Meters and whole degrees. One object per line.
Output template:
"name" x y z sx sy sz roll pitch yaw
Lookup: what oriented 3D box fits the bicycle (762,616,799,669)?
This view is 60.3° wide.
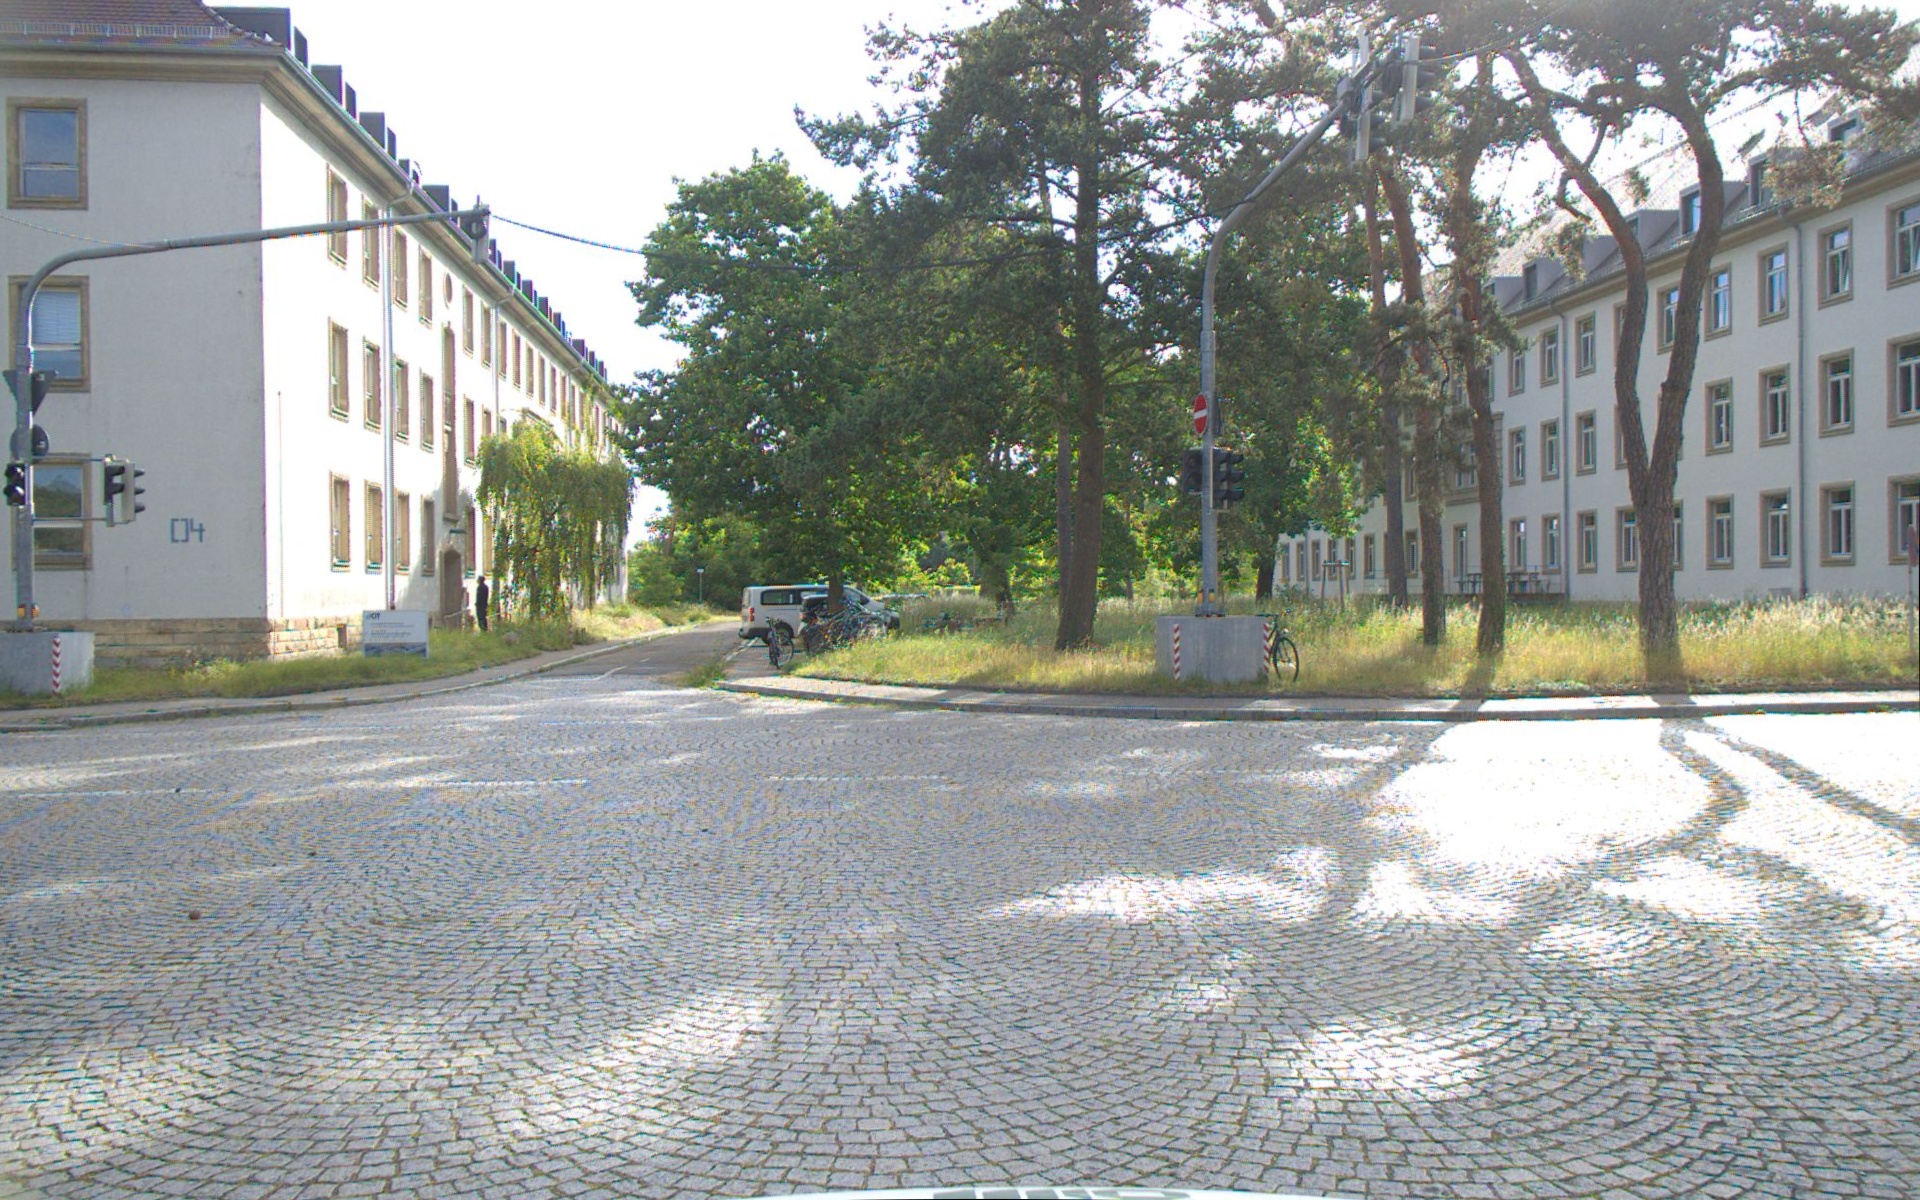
"bicycle" -3.744 0.875 34.577 0.714 1.016 1.797 -1 1 -6

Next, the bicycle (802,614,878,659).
"bicycle" -2.849 0.861 39.300 1.759 1.016 0.643 -1 1 -7

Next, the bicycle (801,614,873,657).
"bicycle" -3.091 0.874 41.524 1.759 1.016 0.643 -1 1 -7

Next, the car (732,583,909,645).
"car" -4.579 0.447 54.100 5.419 1.949 2.241 0 -1 -20

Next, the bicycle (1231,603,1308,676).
"bicycle" 4.623 0.575 24.821 0.552 1.016 1.748 -1 1 -10

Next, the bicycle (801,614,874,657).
"bicycle" -3.027 0.870 40.788 1.759 1.016 0.643 -1 1 -7

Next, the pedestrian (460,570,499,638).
"pedestrian" -14.367 0.128 49.484 0.966 1.998 0.931 0 -1 -6

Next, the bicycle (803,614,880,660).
"bicycle" -2.750 0.853 38.286 1.759 1.016 0.643 -1 1 -7

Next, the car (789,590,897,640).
"car" -3.585 0.469 50.623 2.986 1.491 1.711 0 -1 -19
